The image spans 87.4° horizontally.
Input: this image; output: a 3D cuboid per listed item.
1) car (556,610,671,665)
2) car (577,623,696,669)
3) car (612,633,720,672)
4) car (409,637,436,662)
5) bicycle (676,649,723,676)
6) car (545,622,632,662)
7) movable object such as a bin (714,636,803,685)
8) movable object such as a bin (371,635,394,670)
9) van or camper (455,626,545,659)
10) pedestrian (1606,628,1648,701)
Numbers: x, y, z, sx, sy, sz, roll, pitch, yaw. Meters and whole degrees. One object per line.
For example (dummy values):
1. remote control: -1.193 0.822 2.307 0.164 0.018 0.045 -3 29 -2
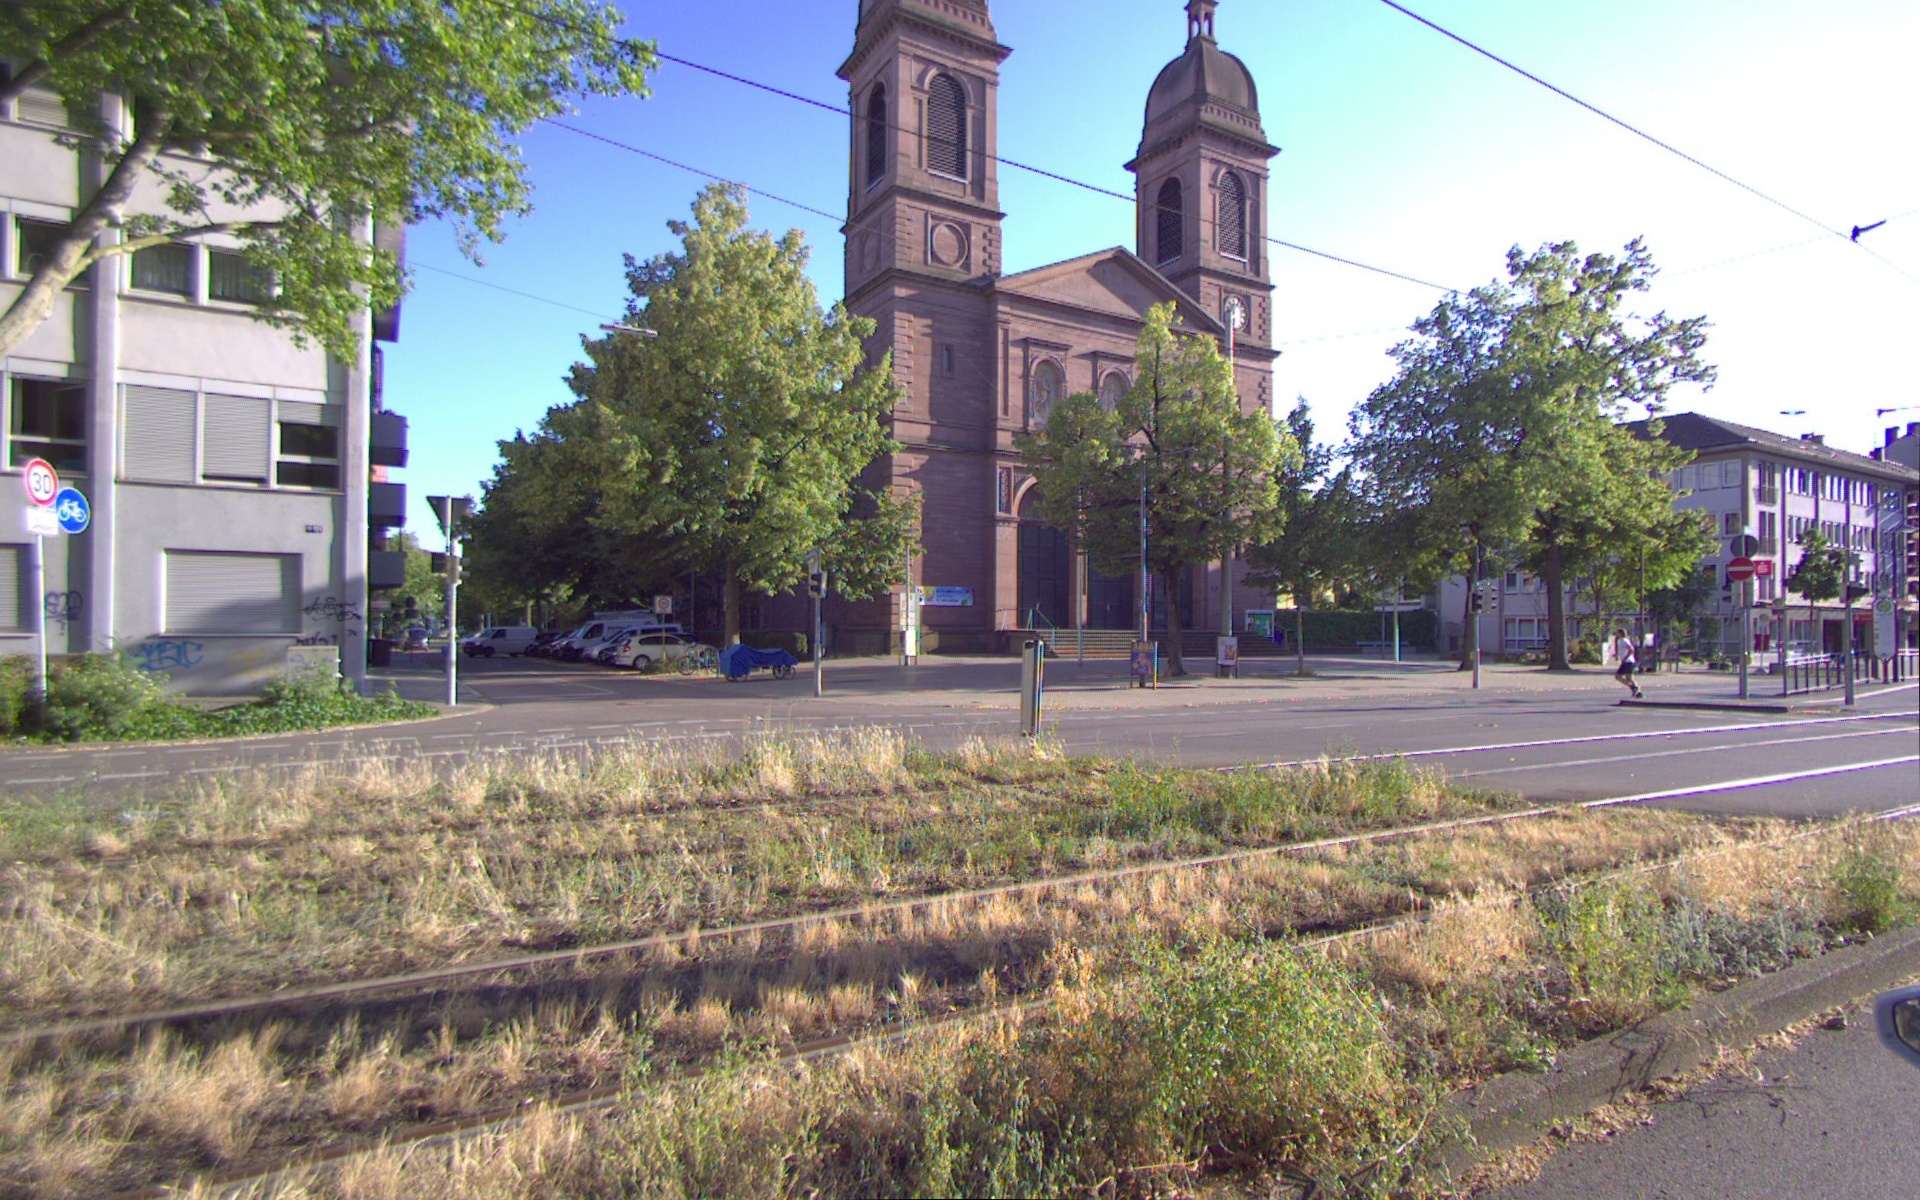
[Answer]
1. car: -18.303 1.954 53.111 5.382 2.710 1.980 2 0 -36
2. car: -15.531 2.170 48.317 5.121 2.040 1.981 2 0 -34
3. car: -12.235 2.172 41.824 3.953 1.479 1.984 2 0 -30
4. car: -45.780 4.189 85.471 1.976 2.040 3.970 1 -2 -29
5. bicycle: -9.070 2.158 34.964 1.517 0.904 0.465 2 0 -27
6. car: -20.432 2.296 55.268 4.174 2.040 1.981 2 0 -34
7. movable object such as a bin: -6.161 1.828 30.714 2.416 1.228 1.102 -3 2 -30
8. movable object such as a bin: -22.311 2.024 38.808 0.737 1.323 0.865 1 -2 -32
9. van or camper: -29.981 2.769 65.650 1.964 2.040 5.125 0 -2 30
10. pedestrian: 16.738 1.611 25.209 0.679 1.794 0.676 1 -1 -33
